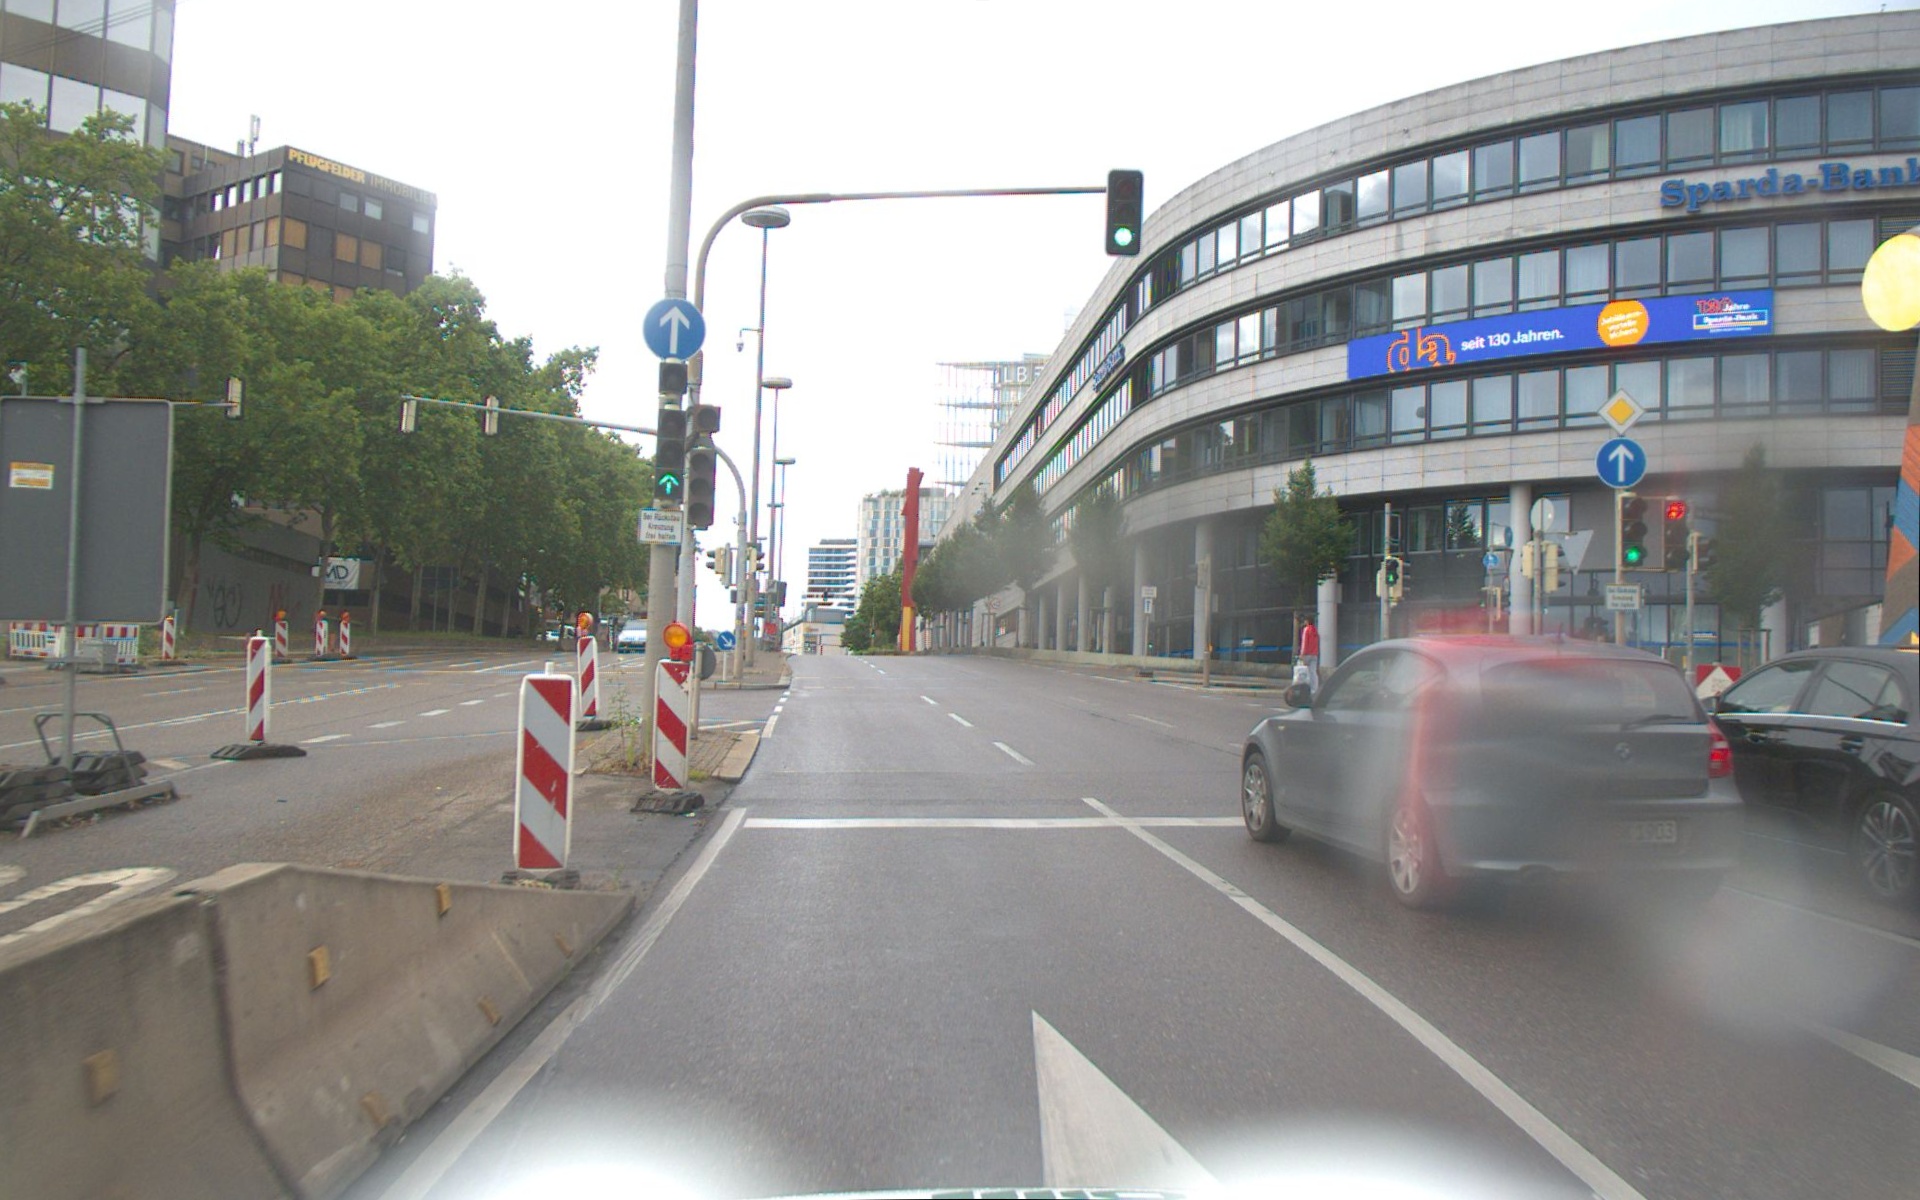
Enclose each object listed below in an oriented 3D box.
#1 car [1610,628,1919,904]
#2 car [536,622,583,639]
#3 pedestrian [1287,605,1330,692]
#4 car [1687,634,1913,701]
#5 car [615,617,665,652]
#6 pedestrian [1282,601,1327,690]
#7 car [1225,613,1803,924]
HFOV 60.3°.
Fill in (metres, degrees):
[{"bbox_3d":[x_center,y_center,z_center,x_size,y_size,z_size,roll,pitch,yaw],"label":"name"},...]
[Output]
[{"bbox_3d":[5.787,0.915,10.254,1.719,1.432,4.225,0,-2,-2],"label":"car"},{"bbox_3d":[-39.795,3.012,164.285,1.787,1.537,4.565,-2,-3,33],"label":"car"},{"bbox_3d":[7.868,1.085,37.303,0.823,1.938,0.732,0,-2,21],"label":"pedestrian"},{"bbox_3d":[20.577,1.660,40.657,4.599,1.467,1.868,2,-3,6],"label":"car"},{"bbox_3d":[-13.992,1.496,72.533,1.727,1.486,4.354,0,0,-5],"label":"car"},{"bbox_3d":[7.599,1.014,36.496,0.823,1.938,0.861,0,-3,21],"label":"pedestrian"},{"bbox_3d":[3.000,0.838,9.913,1.707,1.468,3.993,2,-1,-7],"label":"car"}]
